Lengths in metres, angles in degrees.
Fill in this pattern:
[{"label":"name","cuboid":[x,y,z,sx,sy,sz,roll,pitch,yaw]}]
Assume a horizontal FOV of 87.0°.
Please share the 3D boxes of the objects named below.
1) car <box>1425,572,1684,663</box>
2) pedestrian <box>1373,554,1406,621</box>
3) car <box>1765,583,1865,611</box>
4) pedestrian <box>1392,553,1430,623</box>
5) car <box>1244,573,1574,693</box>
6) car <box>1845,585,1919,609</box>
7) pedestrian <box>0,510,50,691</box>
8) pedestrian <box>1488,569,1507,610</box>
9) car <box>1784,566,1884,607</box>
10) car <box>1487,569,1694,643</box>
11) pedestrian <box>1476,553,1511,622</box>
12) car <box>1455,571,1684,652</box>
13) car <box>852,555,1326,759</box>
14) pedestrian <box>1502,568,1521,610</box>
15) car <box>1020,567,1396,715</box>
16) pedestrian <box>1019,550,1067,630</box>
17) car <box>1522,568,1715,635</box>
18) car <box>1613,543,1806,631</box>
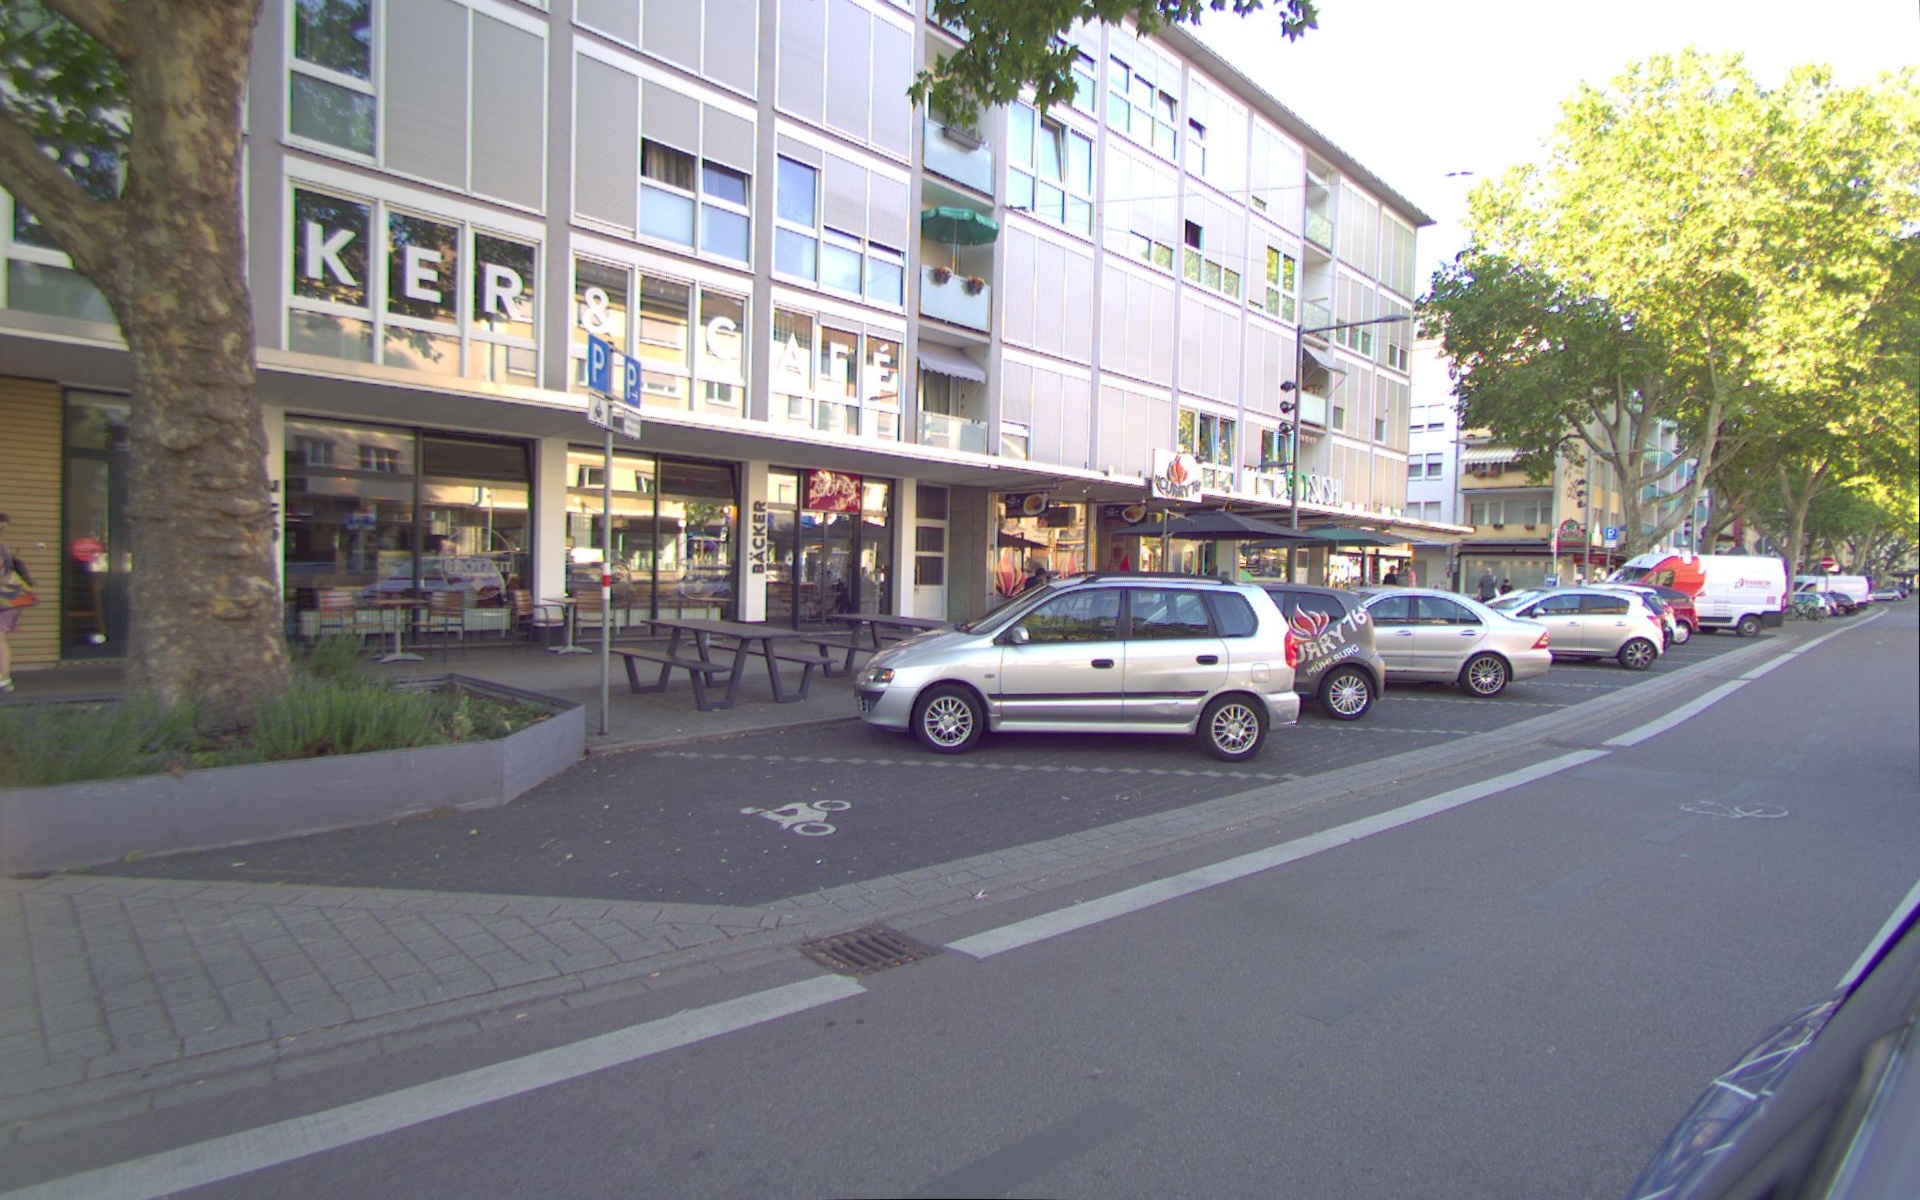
[{"label":"car","cuboid":[11.236,0.294,19.329,3.871,1.446,1.559,3,3,4]},{"label":"pedestrian","cuboid":[13.094,-0.394,30.855,0.746,2.000,0.566,3,2,45]},{"label":"car","cuboid":[47.391,-0.200,56.134,3.864,1.422,1.782,1,2,3]},{"label":"pedestrian","cuboid":[13.384,-0.368,30.033,0.746,2.038,0.752,3,2,45]},{"label":"car","cuboid":[6.220,0.418,14.325,3.866,1.418,1.598,2,3,0]},{"label":"car","cuboid":[55.992,-0.188,60.819,3.864,1.350,1.782,1,2,3]},{"label":"pedestrian","cuboid":[-8.787,-0.013,9.158,0.650,1.611,0.777,5,3,44]},{"label":"pedestrian","cuboid":[22.516,-0.442,42.393,0.536,1.660,0.470,2,2,45]},{"label":"car","cuboid":[55.885,-0.901,64.780,4.512,2.499,1.977,1,2,3]},{"label":"car","cuboid":[15.354,0.091,24.874,3.888,1.445,1.669,4,5,17]},{"label":"pedestrian","cuboid":[16.112,-0.389,30.564,0.746,2.038,0.550,3,2,45]},{"label":"car","cuboid":[13.239,0.195,22.239,3.886,1.446,1.670,4,3,16]},{"label":"car","cuboid":[1.039,0.448,9.258,3.906,1.560,1.679,2,3,-3]},{"label":"pedestrian","cuboid":[22.904,-0.457,41.997,0.544,1.741,0.450,2,2,45]},{"label":"car","cuboid":[2.748,0.422,11.798,3.864,1.446,1.679,2,3,-3]},{"label":"pedestrian","cuboid":[1.715,-0.217,20.874,0.757,1.602,0.583,0,2,-39]},{"label":"car","cuboid":[17.489,-0.010,27.081,3.888,1.445,1.669,4,5,17]},{"label":"car","cuboid":[23.273,-0.424,31.547,4.514,2.525,1.675,2,1,5]}]
